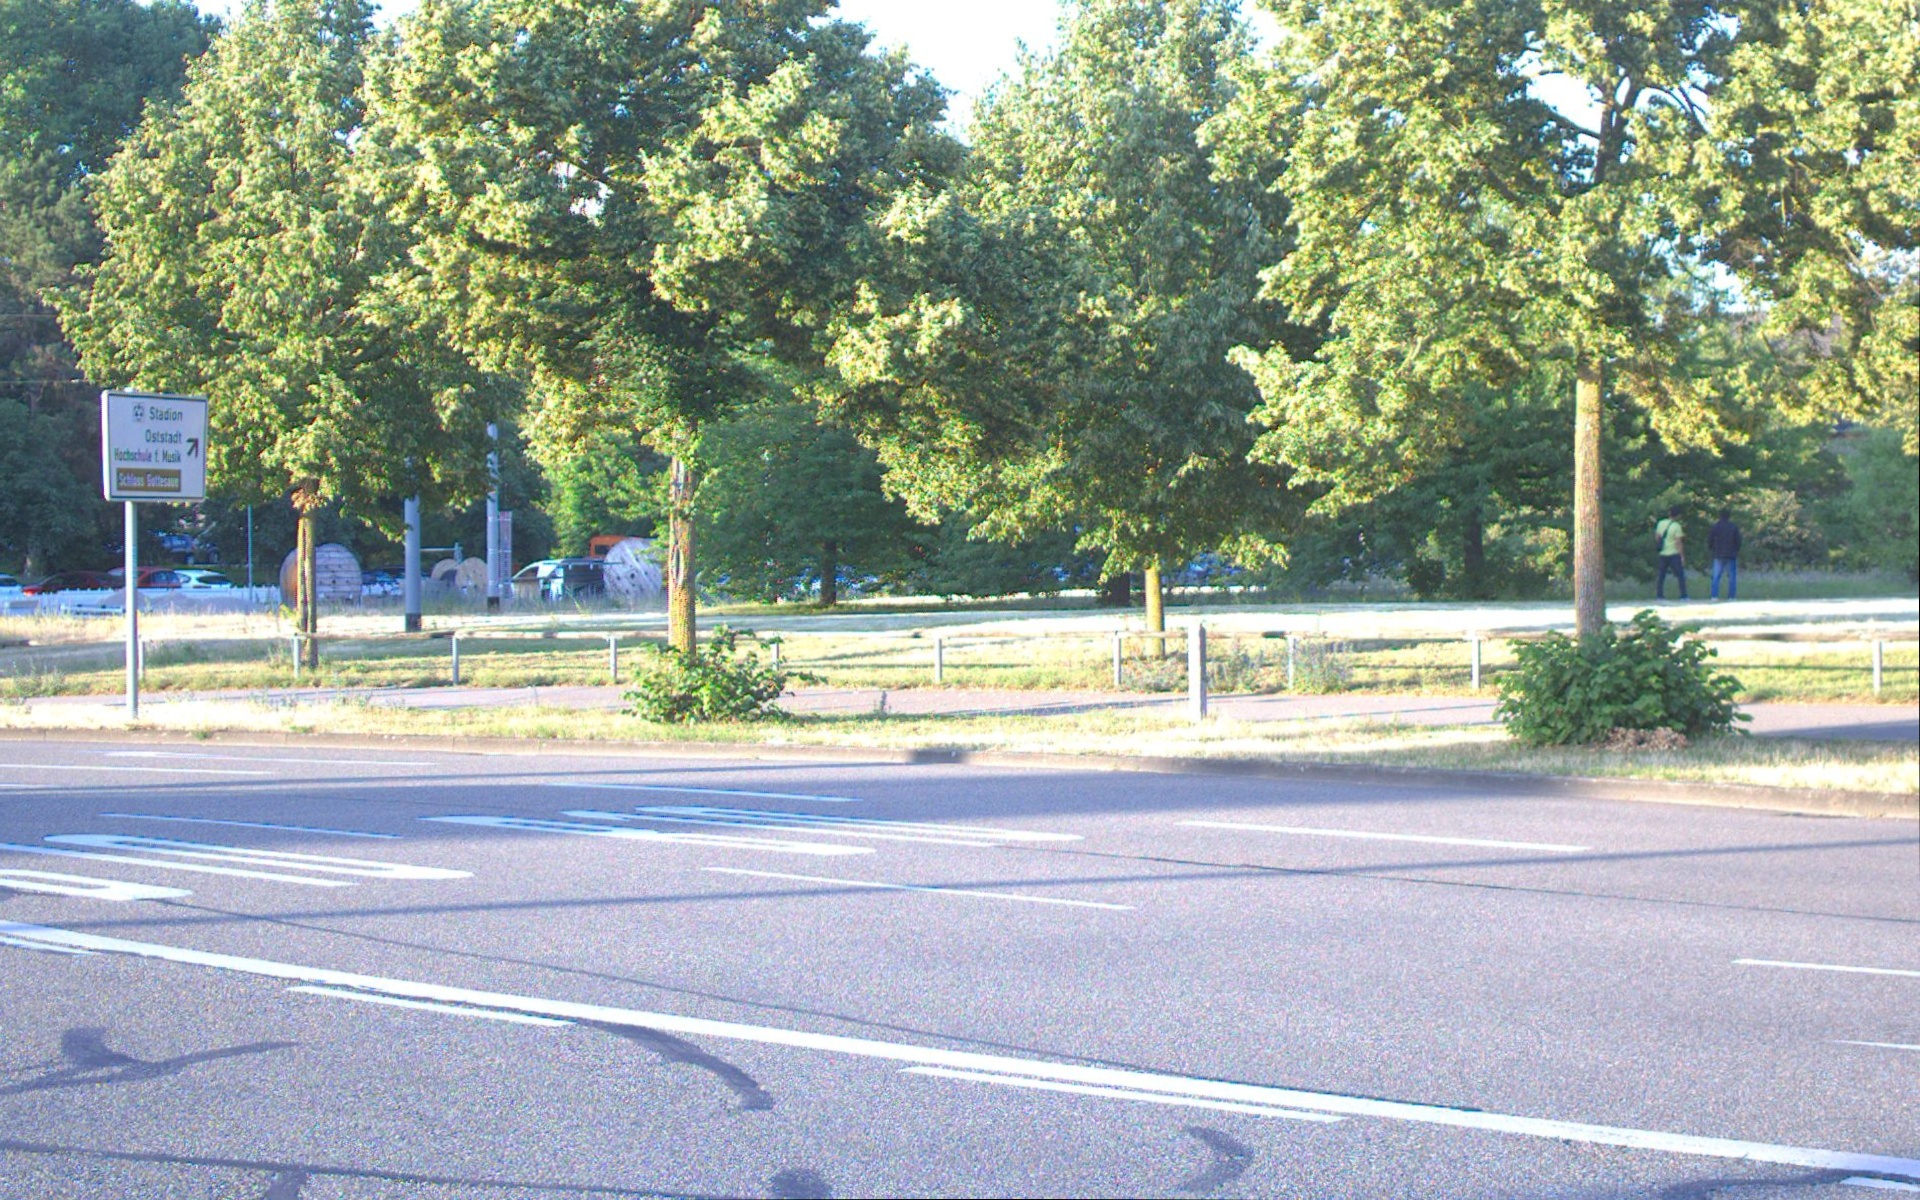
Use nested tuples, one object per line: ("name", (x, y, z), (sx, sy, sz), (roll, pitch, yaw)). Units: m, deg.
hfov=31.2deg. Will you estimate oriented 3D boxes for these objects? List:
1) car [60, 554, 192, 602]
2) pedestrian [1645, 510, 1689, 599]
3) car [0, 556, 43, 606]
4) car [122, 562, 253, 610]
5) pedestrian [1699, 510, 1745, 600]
("car", (-27.682, -0.728, 114.060), (3.994, 1.545, 1.997), (0, 1, 30))
("pedestrian", (12.888, -0.831, 62.641), (0.579, 1.621, 0.533), (-1, 1, -32))
("car", (-30.992, -0.605, 107.934), (3.994, 1.545, 1.997), (0, 1, 30))
("car", (-26.075, -0.482, 116.019), (3.994, 1.545, 1.997), (0, 1, 30))
("pedestrian", (13.809, -0.816, 62.327), (0.618, 1.621, 0.530), (-1, 1, -31))
